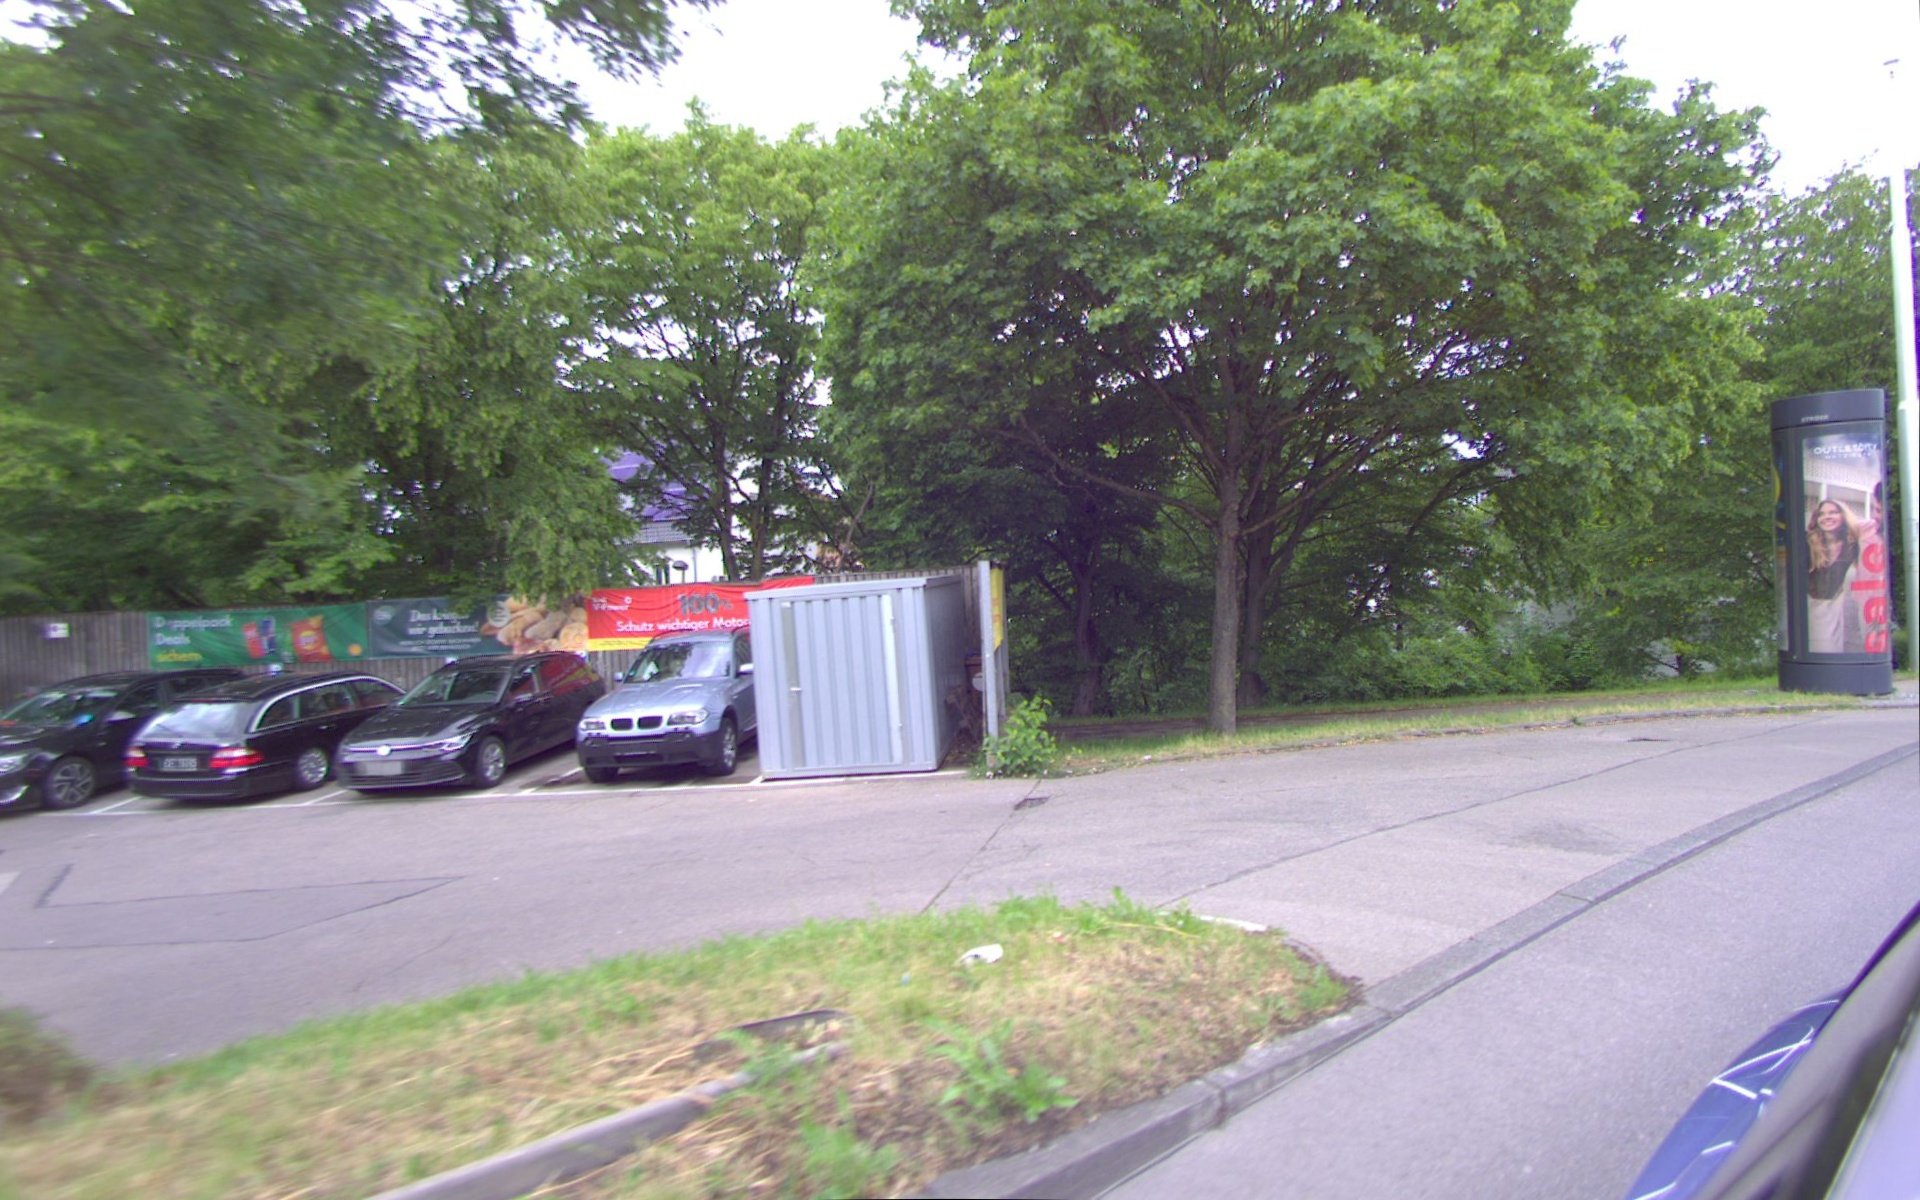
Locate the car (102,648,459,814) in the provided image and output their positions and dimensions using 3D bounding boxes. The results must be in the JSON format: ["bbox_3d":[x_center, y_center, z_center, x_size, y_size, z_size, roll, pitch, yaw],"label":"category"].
[{"bbox_3d":[-9.006,1.639,13.960,1.704,1.453,4.290,-4,2,5],"label":"car"}]

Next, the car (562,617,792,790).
[{"bbox_3d":[-3.561,1.207,13.591,1.703,1.610,4.293,-4,2,2],"label":"car"}]

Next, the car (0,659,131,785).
[{"bbox_3d":[-14.052,1.803,13.972,1.600,1.538,4.097,-1,2,5],"label":"car"}]

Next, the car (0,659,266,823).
[{"bbox_3d":[-11.756,1.764,13.581,1.704,1.453,4.214,-1,3,5],"label":"car"}]

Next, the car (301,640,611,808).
[{"bbox_3d":[-6.408,1.484,13.507,1.704,1.444,4.291,-4,2,4],"label":"car"}]
